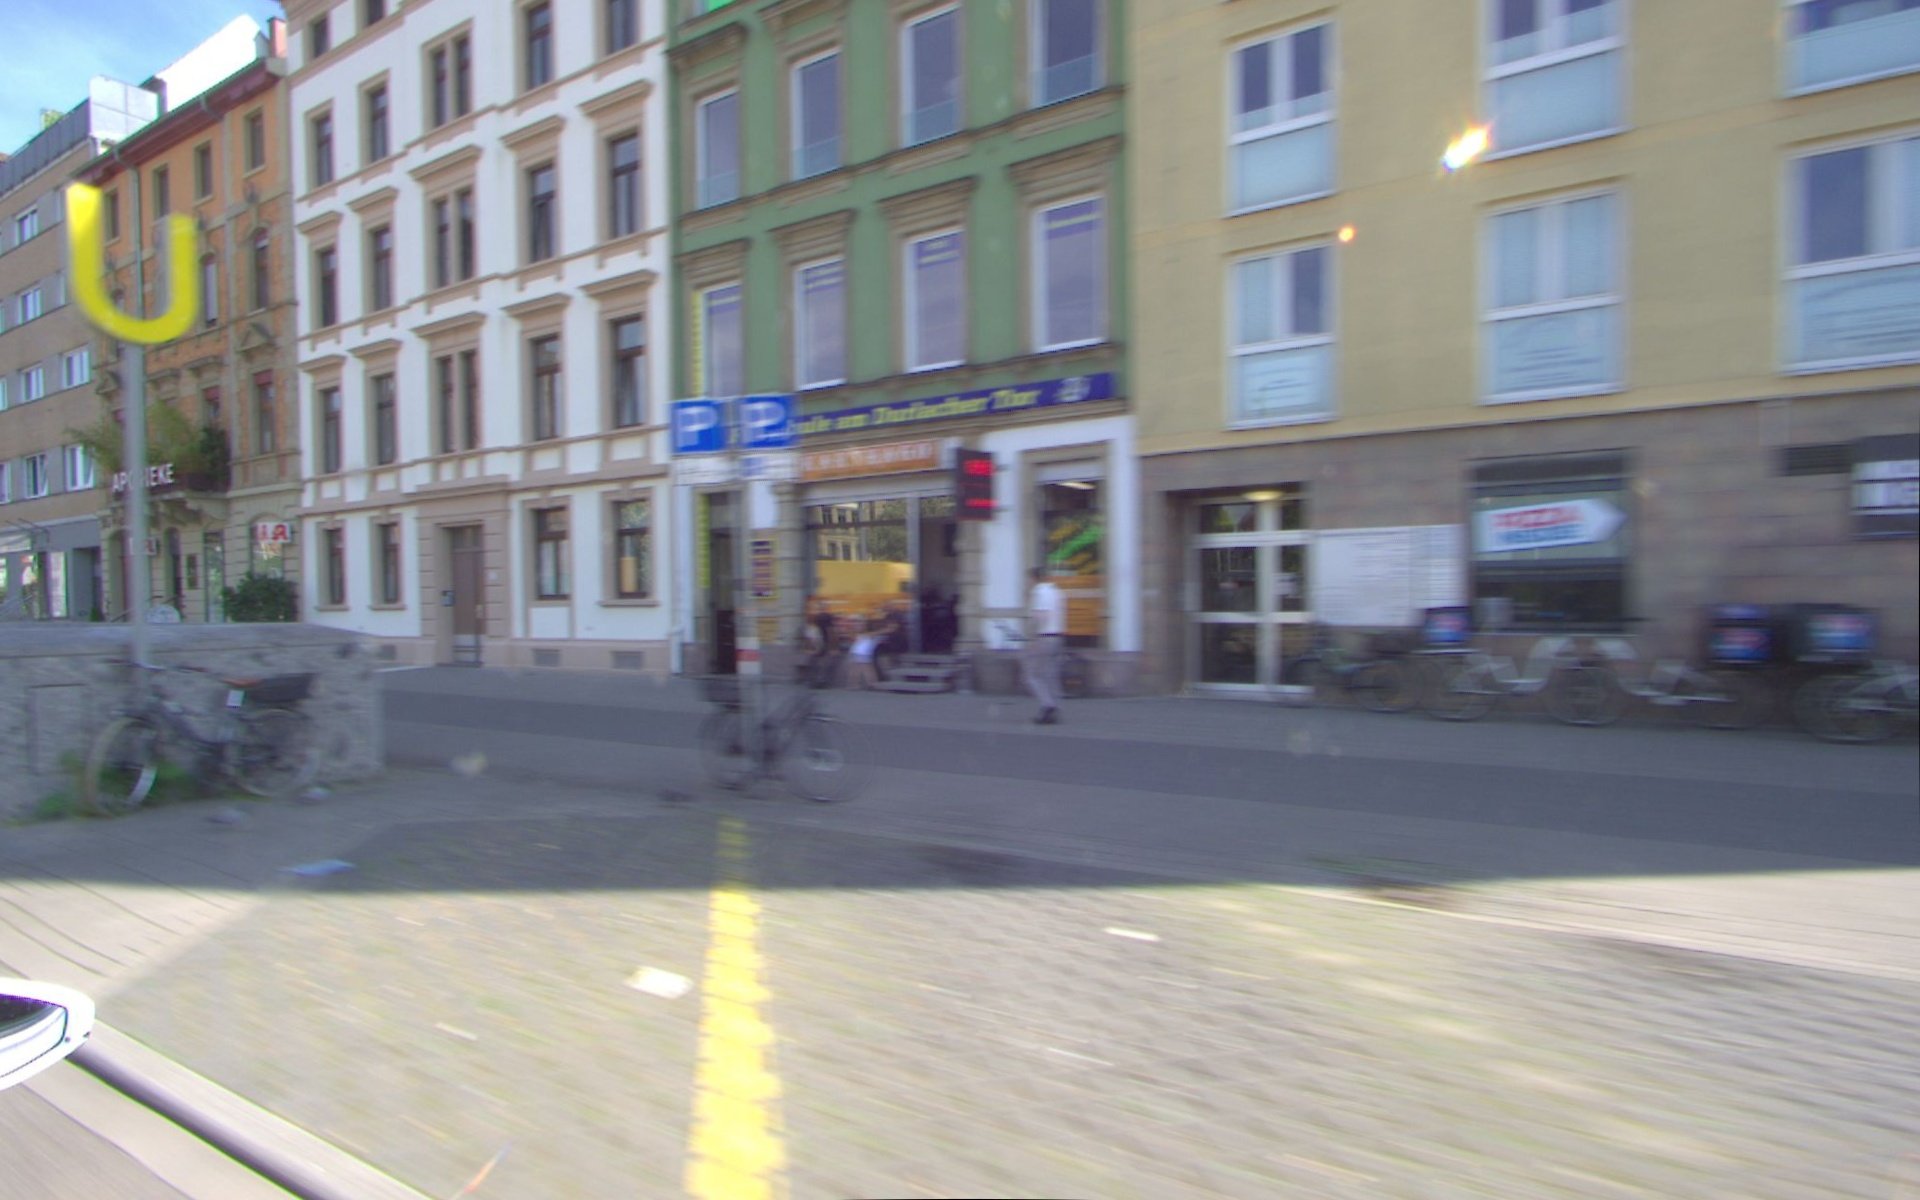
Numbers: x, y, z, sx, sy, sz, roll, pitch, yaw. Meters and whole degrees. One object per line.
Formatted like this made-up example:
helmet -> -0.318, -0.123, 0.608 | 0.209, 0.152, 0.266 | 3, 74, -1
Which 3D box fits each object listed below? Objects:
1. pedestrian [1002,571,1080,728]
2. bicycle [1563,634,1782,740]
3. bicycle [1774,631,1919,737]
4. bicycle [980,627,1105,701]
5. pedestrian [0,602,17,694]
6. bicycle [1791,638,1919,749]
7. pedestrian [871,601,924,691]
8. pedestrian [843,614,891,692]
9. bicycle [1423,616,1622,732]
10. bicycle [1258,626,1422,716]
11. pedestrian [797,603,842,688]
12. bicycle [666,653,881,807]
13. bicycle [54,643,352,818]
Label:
pedestrian -> 0.953, 0.558, 11.701 | 0.693, 1.769, 0.608 | 0, 1, 32
bicycle -> 7.030, 0.833, 9.995 | 1.731, 0.940, 0.581 | -1, 3, 31
bicycle -> 8.787, 0.772, 9.382 | 1.732, 0.928, 0.580 | -1, 1, 33
bicycle -> 1.154, 0.884, 14.261 | 1.754, 0.978, 0.412 | -1, 3, 31
pedestrian -> -17.939, 0.887, 18.673 | 0.518, 1.688, 0.370 | 0, 1, 32
bicycle -> 8.565, 0.828, 8.905 | 1.731, 0.928, 0.581 | -1, 1, 31
pedestrian -> -0.989, 0.718, 15.853 | 0.637, 1.392, 0.524 | 0, 1, 32
pedestrian -> -1.450, 0.810, 15.649 | 0.522, 1.183, 0.524 | 0, 1, 32
bicycle -> 5.930, 0.751, 10.619 | 1.793, 1.110, 0.580 | -1, 3, 31
bicycle -> 4.550, 0.822, 12.023 | 1.754, 0.978, 0.581 | -1, 3, 31
pedestrian -> -2.302, 0.731, 16.436 | 0.522, 1.372, 0.524 | 0, 1, 32
bicycle -> -1.576, 1.025, 8.336 | 1.794, 1.110, 0.580 | -1, 3, 32
bicycle -> -5.759, 0.933, 7.735 | 0.588, 1.109, 1.739 | 1, 1, 32
